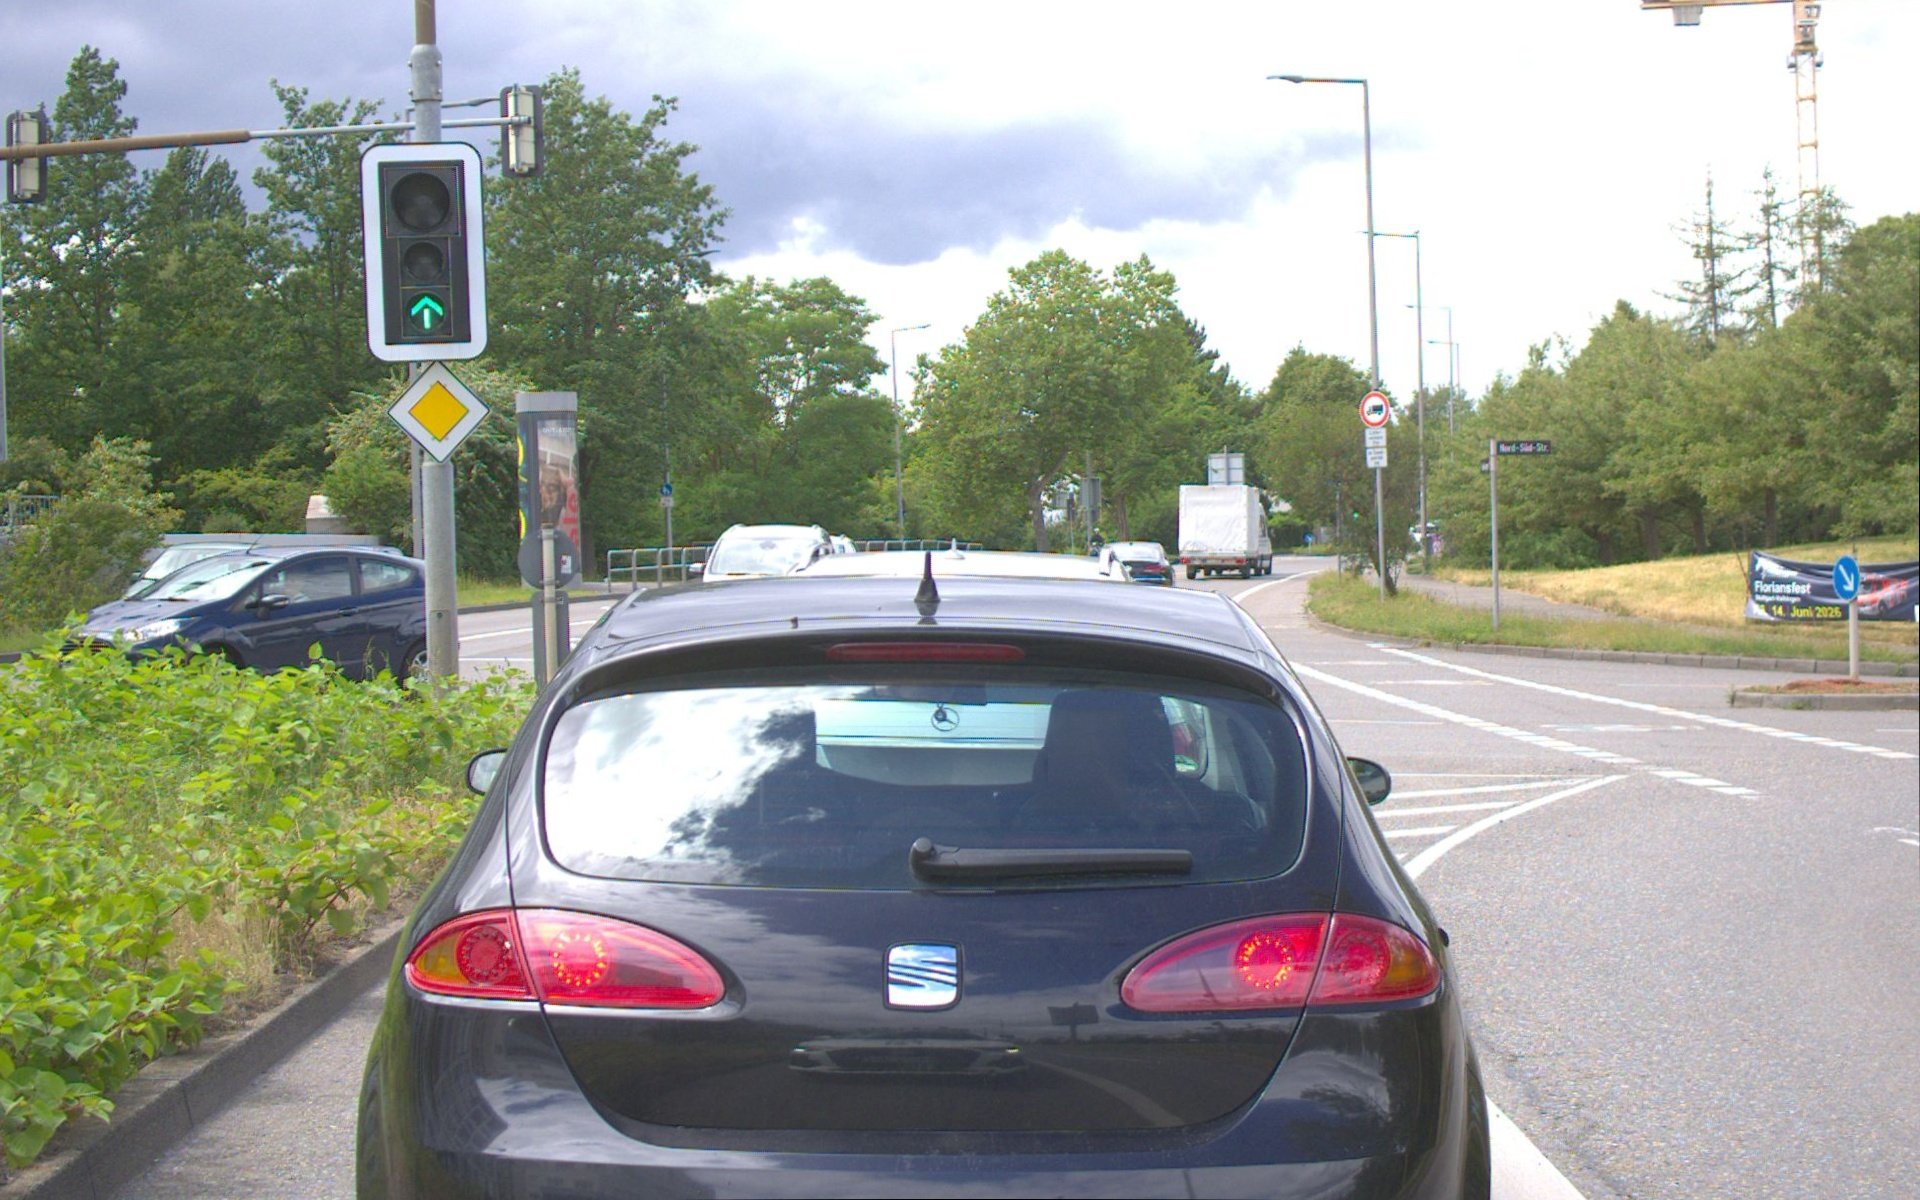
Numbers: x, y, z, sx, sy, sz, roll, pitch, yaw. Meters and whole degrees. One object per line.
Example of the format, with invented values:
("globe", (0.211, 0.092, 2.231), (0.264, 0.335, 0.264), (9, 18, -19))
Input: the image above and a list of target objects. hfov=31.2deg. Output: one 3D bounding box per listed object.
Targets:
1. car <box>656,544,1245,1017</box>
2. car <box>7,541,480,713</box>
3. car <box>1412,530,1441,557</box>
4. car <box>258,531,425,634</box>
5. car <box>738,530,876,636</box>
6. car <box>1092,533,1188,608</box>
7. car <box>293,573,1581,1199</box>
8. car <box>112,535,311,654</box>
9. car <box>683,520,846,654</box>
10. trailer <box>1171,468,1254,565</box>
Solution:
("car", (-0.009, 0.549, 12.696), (1.834, 1.462, 3.751), (1, 1, 1))
("car", (-6.393, 0.222, 30.964), (1.758, 1.441, 3.882), (1, 1, 41))
("car", (28.671, -3.483, 211.162), (1.668, 1.590, 3.998), (1, 1, 9))
("car", (-8.975, -0.288, 50.120), (1.554, 1.414, 3.895), (0, 1, 3))
("car", (-2.284, -0.291, 52.260), (1.660, 1.513, 4.084), (1, 1, 3))
("car", (3.891, -0.654, 74.265), (1.994, 1.560, 4.470), (0, 1, 3))
("car", (-0.047, 0.686, 6.323), (1.711, 1.412, 3.459), (1, 1, 0))
("car", (-9.409, -0.102, 43.446), (1.605, 1.427, 3.752), (0, 1, 2))
("car", (-2.579, -0.215, 46.293), (1.820, 1.681, 4.645), (1, 1, 1))
("trailer", (8.359, -2.708, 113.308), (2.492, 3.063, 5.585), (1, 1, 6))
